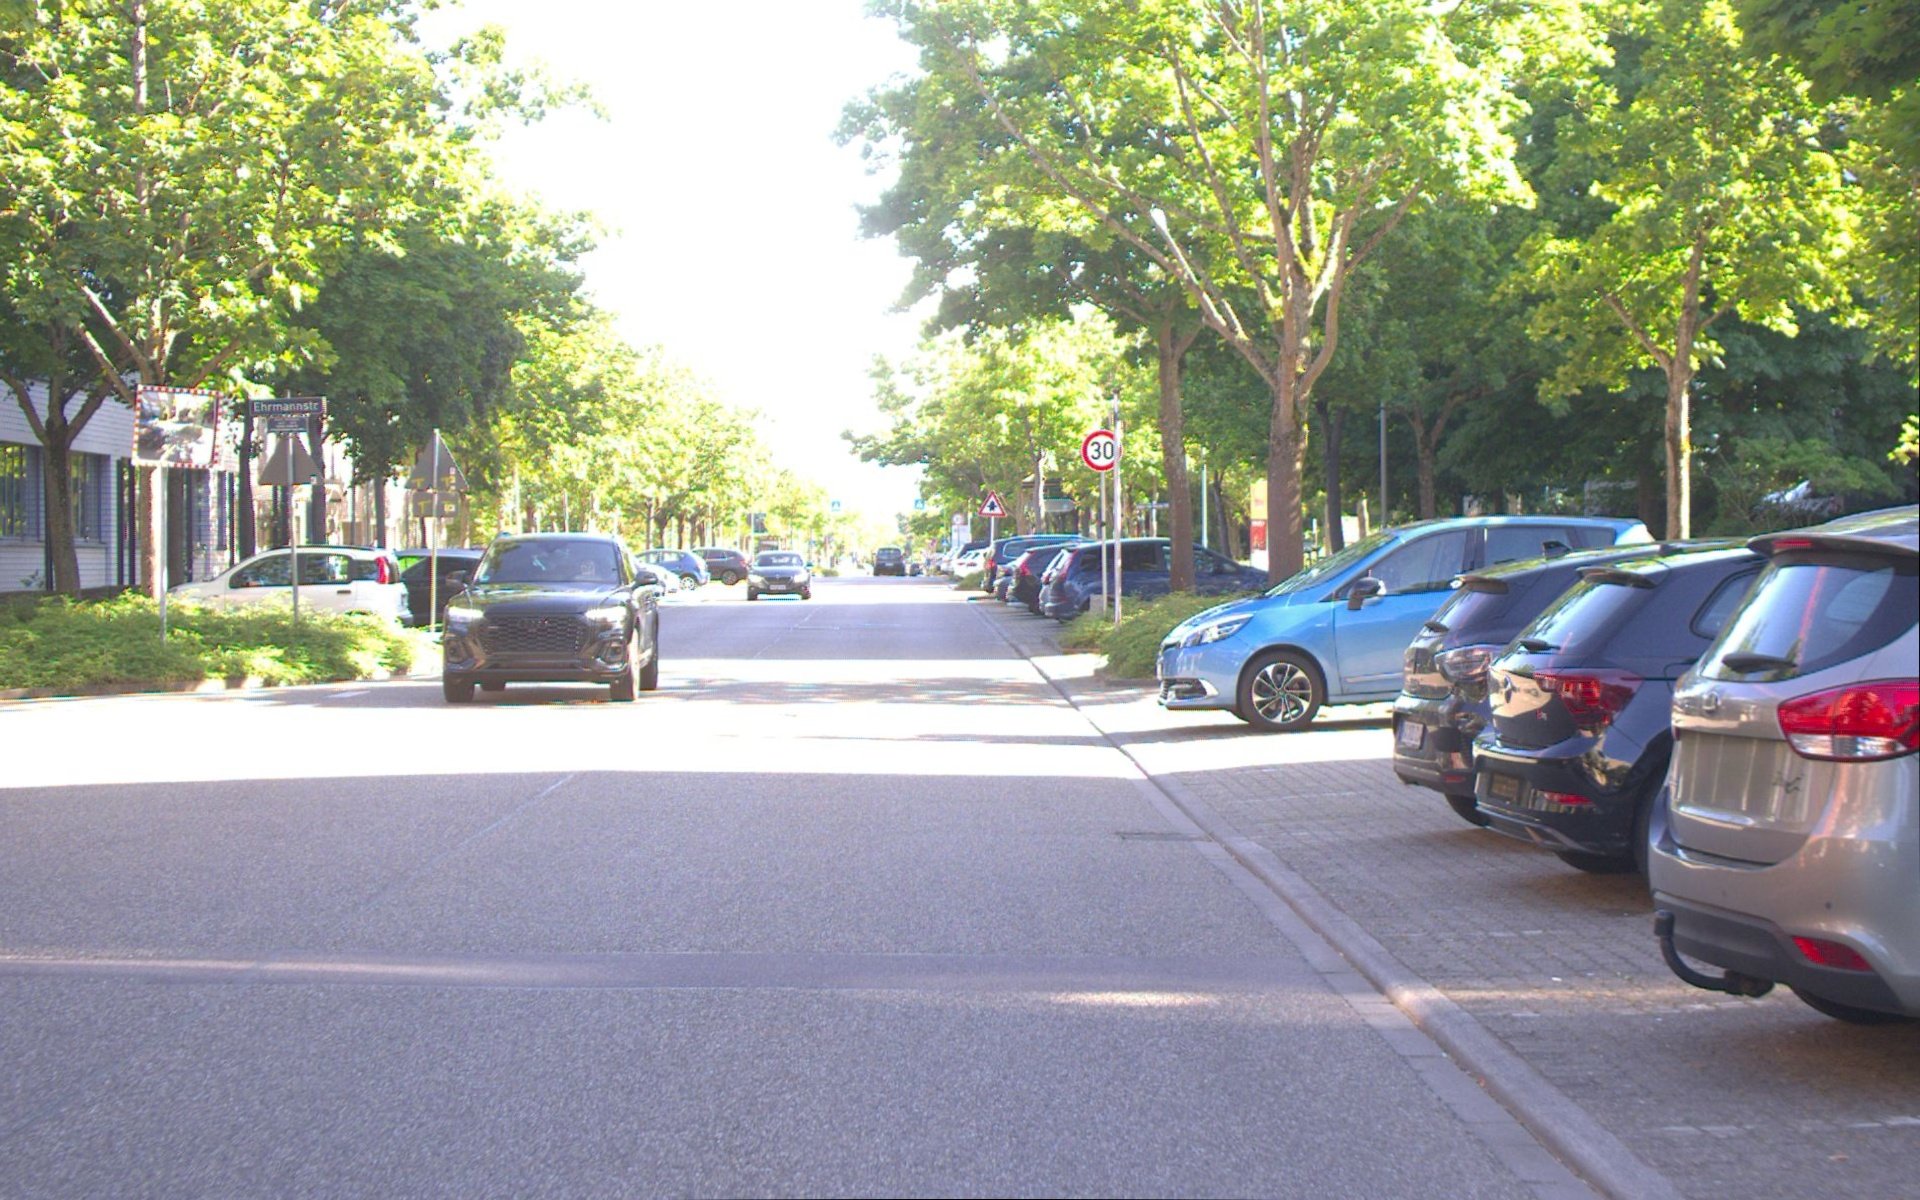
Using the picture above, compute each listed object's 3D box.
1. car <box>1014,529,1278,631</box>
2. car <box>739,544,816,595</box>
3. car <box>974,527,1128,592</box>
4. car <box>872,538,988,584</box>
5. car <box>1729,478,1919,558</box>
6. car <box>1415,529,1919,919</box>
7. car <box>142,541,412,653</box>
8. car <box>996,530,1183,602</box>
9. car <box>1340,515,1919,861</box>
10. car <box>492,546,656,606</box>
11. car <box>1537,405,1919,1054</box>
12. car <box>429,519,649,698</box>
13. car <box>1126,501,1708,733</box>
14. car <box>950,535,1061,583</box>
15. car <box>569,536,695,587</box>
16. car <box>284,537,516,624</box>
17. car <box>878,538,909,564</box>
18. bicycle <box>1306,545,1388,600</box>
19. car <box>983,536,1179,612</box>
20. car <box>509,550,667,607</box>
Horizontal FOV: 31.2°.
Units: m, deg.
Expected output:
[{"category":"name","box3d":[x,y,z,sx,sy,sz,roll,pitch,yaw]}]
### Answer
[{"category":"car","box3d":[3.123,-0.348,58.276,4.267,1.628,1.858,-1,1,-3]},{"category":"car","box3d":[-5.247,-0.891,99.302,1.813,1.410,4.107,0,1,3]},{"category":"car","box3d":[2.343,-1.053,89.373,3.892,1.650,1.858,0,1,-3]},{"category":"car","box3d":[-1.085,-1.411,123.017,3.986,1.619,2.000,0,1,-6]},{"category":"car","box3d":[20.605,-1.938,81.797,4.071,1.777,2.000,1,0,-5]},{"category":"car","box3d":[3.997,0.426,14.386,3.799,1.403,1.702,-3,2,-6]},{"category":"car","box3d":[-9.709,-0.033,49.068,3.580,1.544,1.637,0,-2,-3]},{"category":"car","box3d":[2.920,-0.773,77.699,4.043,1.486,1.550,-2,1,-4]},{"category":"car","box3d":[3.960,0.373,17.074,3.846,1.478,1.825,-3,2,-1]},{"category":"car","box3d":[-9.526,-0.591,84.978,3.892,1.459,1.858,0,1,-2]},{"category":"car","box3d":[4.023,0.278,9.671,4.351,1.592,1.940,-1,1,-7]},{"category":"car","box3d":[-4.196,0.046,34.853,1.891,1.678,4.353,-1,1,-3]},{"category":"car","box3d":[3.671,0.114,28.180,4.405,1.612,1.912,-3,1,-1]},{"category":"car","box3d":[1.688,-1.540,129.622,3.986,1.786,2.000,0,1,-6]},{"category":"car","box3d":[-10.988,-1.293,115.305,3.987,1.648,1.860,-1,1,2]},{"category":"car","box3d":[-9.536,-0.343,58.721,3.732,1.459,1.677,0,1,-2]},{"category":"car","box3d":[-4.192,-3.121,217.044,1.933,1.592,4.366,-1,1,-1]},{"category":"bicycle","box3d":[7.634,-0.553,67.852,0.379,1.074,1.786,-1,1,-42]},{"category":"car","box3d":[2.616,-0.577,74.692,4.043,1.585,1.550,0,1,-8]},{"category":"car","box3d":[-9.529,-0.560,88.178,3.892,1.459,1.858,0,1,-2]}]
